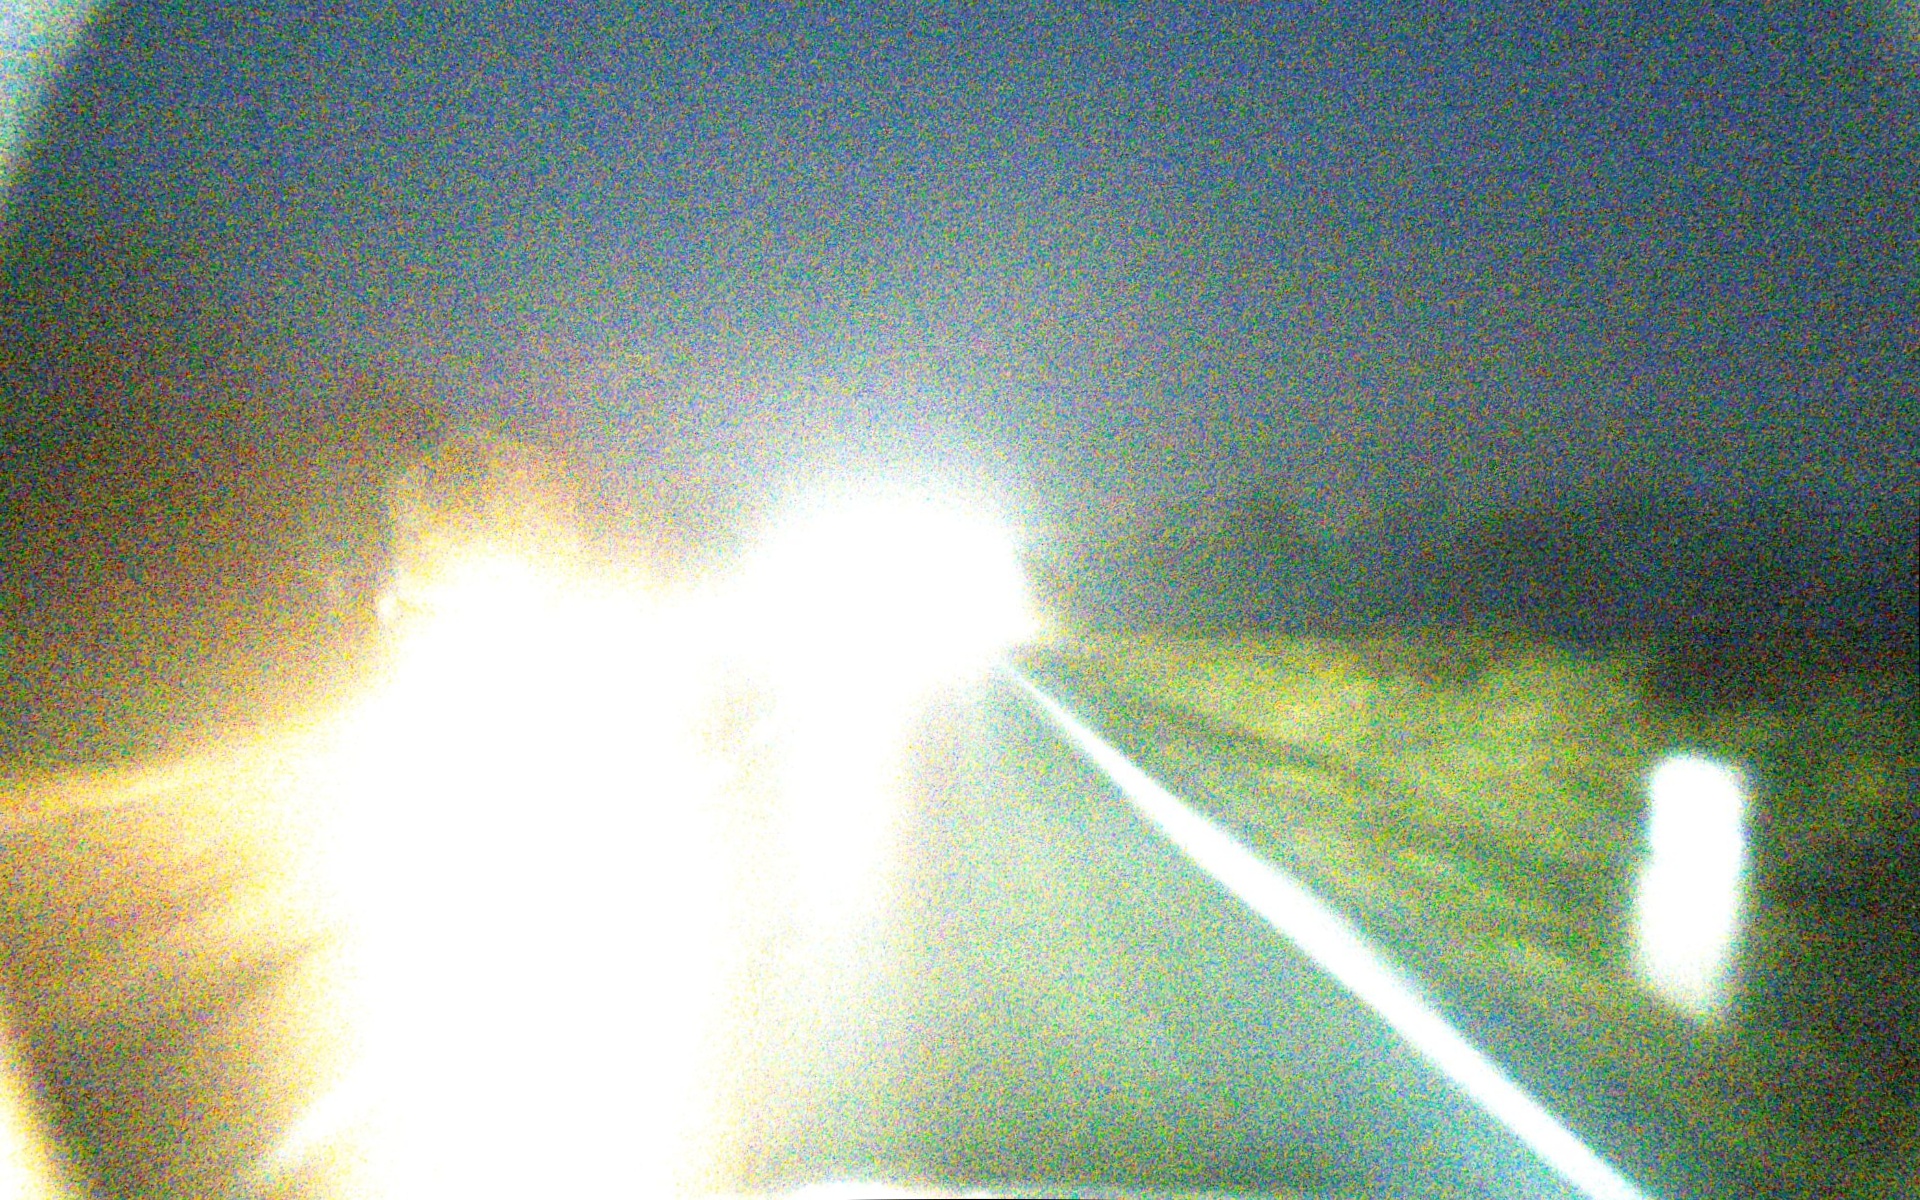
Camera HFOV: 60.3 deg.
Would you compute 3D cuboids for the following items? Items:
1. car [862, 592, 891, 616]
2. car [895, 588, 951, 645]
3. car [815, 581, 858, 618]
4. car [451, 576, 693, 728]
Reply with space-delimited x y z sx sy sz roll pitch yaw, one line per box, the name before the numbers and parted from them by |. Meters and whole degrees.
car | -6.142 0.293 121.465 1.953 1.690 3.999 2 0 -1
car | -1.251 0.537 57.652 1.805 1.770 4.000 2 1 -1
car | -6.220 -0.009 82.879 1.955 1.690 3.994 2 -1 -6
car | -4.422 0.559 19.467 1.953 1.576 3.999 1 0 -1
